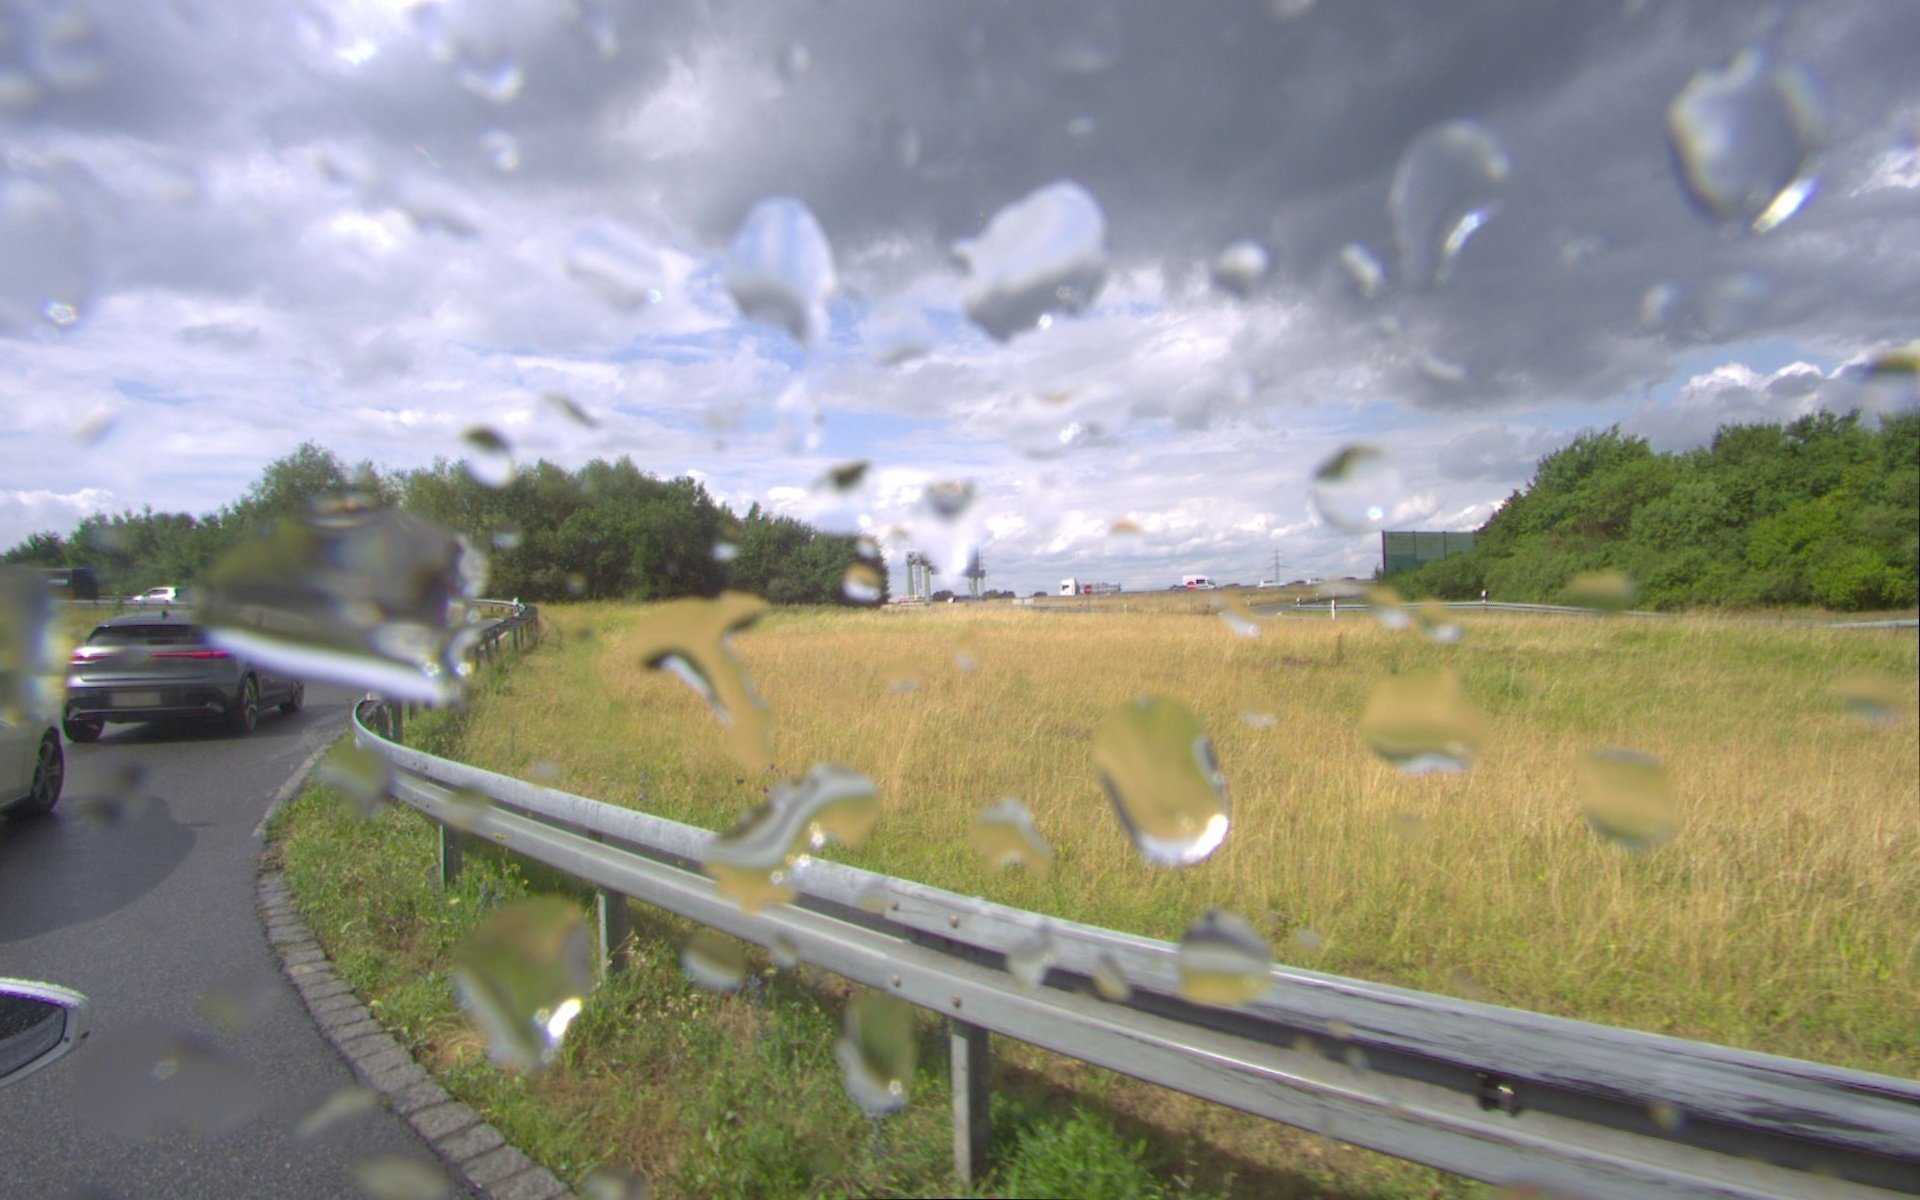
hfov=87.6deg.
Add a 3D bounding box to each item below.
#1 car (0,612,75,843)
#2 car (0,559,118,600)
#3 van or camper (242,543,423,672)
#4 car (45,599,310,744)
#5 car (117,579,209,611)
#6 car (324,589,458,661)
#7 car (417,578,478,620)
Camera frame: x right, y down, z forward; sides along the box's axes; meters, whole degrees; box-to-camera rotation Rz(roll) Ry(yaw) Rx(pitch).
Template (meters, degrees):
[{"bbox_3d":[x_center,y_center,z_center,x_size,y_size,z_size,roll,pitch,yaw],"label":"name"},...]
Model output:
[{"bbox_3d":[-6.973,0.825,5.829,1.895,1.526,4.572,0,-2,-31],"label":"car"},{"bbox_3d":[-60.795,-1.336,66.662,6.848,2.630,2.874,0,1,-2],"label":"car"},{"bbox_3d":[-15.134,0.231,24.617,2.396,2.765,5.989,0,-1,-18],"label":"van or camper"},{"bbox_3d":[-10.036,0.798,13.211,1.695,1.545,3.987,-2,1,-23],"label":"car"},{"bbox_3d":[-52.448,-0.301,65.922,4.963,1.886,1.998,-2,0,12],"label":"car"},{"bbox_3d":[-17.009,0.666,30.296,2.394,1.951,5.746,0,1,-18],"label":"car"},{"bbox_3d":[-24.909,-0.016,48.570,1.974,1.886,5.024,-2,0,-35],"label":"car"}]
